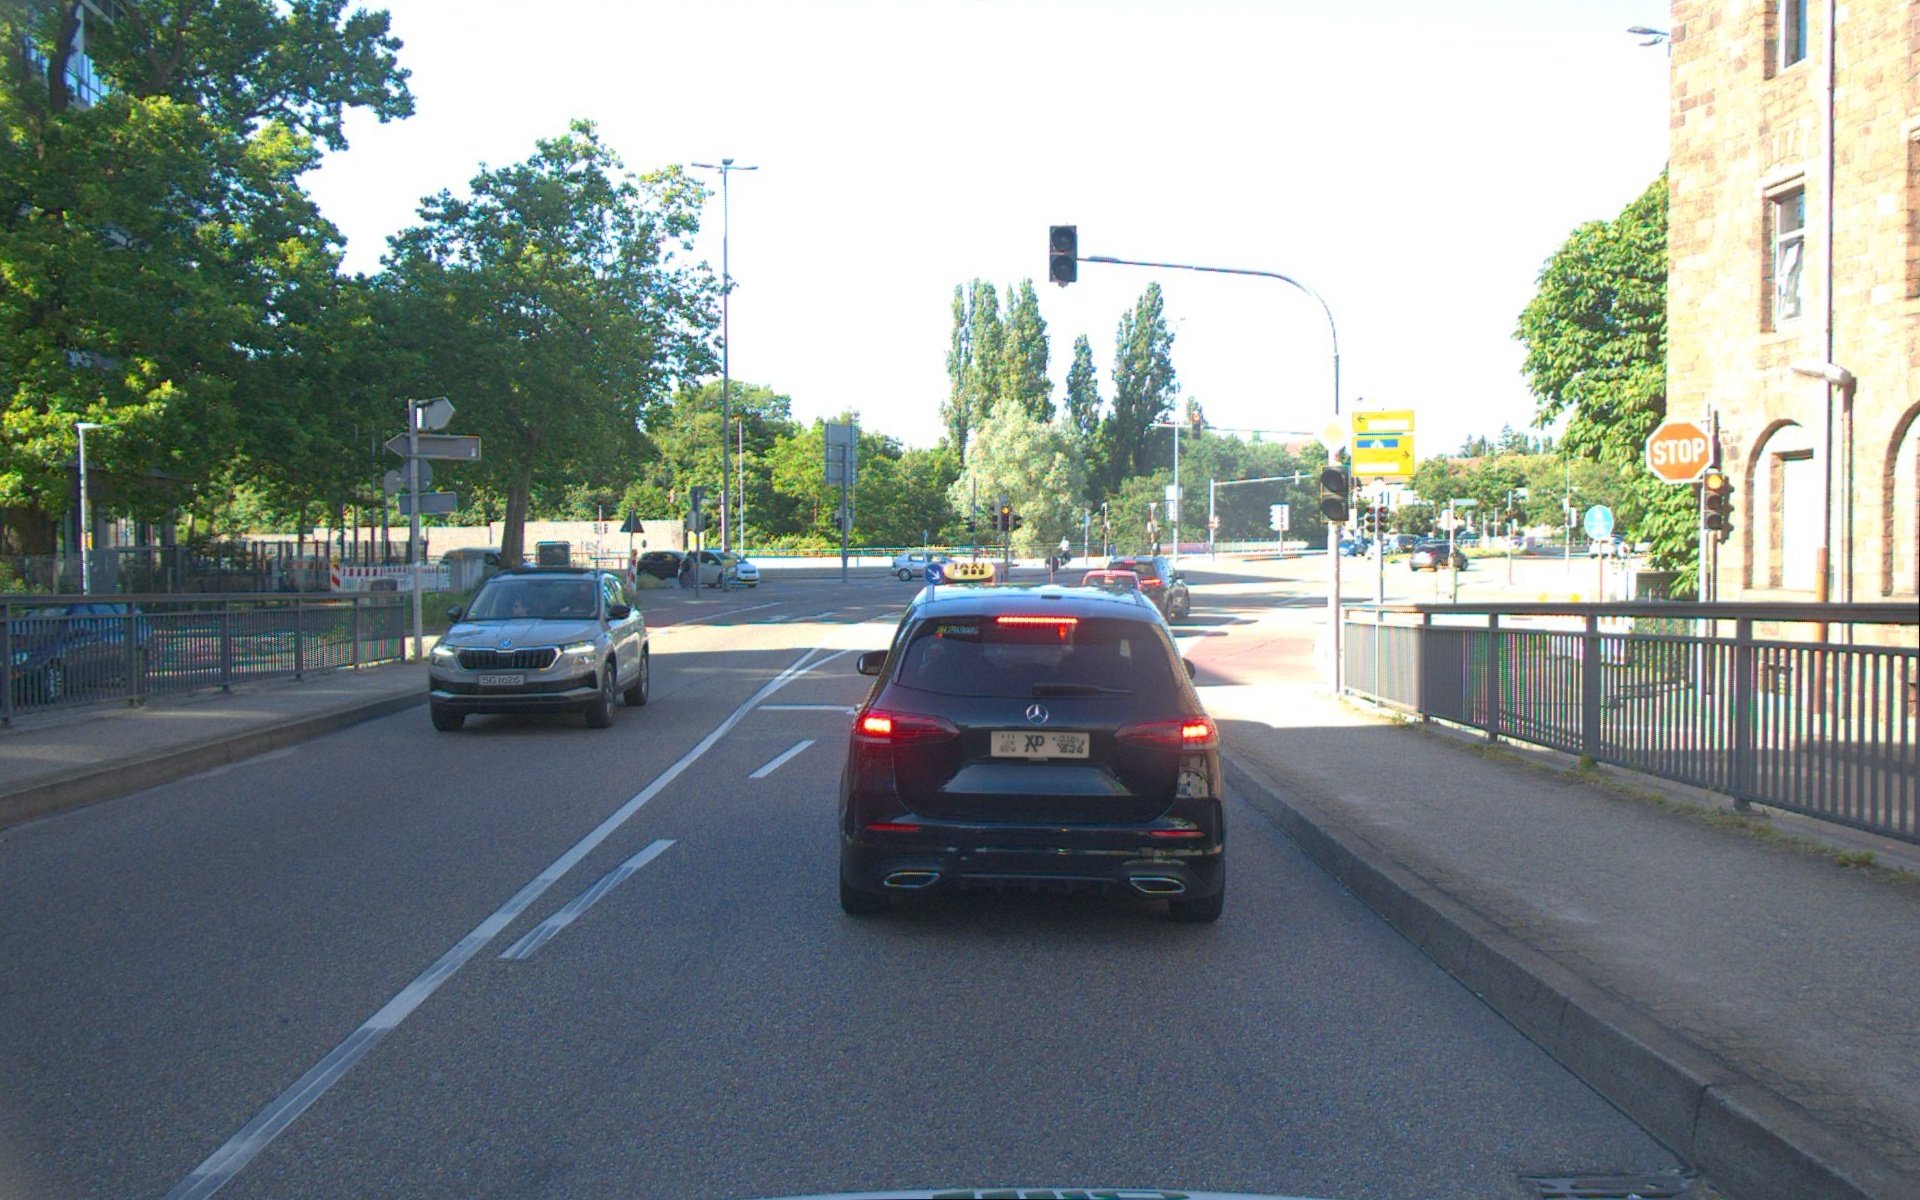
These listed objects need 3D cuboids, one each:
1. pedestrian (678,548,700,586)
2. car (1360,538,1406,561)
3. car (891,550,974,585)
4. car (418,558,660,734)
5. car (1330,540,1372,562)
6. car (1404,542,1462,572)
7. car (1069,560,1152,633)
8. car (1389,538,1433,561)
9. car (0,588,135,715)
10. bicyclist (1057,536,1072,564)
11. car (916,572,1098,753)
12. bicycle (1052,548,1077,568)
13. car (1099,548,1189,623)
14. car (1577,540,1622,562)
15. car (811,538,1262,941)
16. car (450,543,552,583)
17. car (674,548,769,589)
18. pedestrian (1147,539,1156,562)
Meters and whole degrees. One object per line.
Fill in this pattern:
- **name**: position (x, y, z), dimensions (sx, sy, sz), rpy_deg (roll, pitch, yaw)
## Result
- **pedestrian**: position (-11.110, -1.349, 67.831), dimensions (0.690, 1.552, 0.744), rpy_deg (1, 1, 10)
- **car**: position (29.438, -3.522, 115.158), dimensions (1.846, 1.605, 3.987), rpy_deg (1, 2, 35)
- **car**: position (-1.305, -1.596, 80.680), dimensions (3.903, 1.658, 1.892), rpy_deg (0, 1, 4)
- **car**: position (-4.443, 0.394, 18.046), dimensions (1.768, 1.651, 3.998), rpy_deg (-1, 2, -3)
- **car**: position (30.838, -3.866, 130.372), dimensions (1.846, 1.605, 3.987), rpy_deg (1, 2, 35)
- **car**: position (26.069, -2.364, 91.155), dimensions (1.711, 1.524, 3.981), rpy_deg (0, 0, 38)
- **car**: position (3.637, -0.116, 39.445), dimensions (1.685, 1.548, 3.490), rpy_deg (0, 3, 10)
- **car**: position (32.840, -3.708, 120.366), dimensions (1.846, 1.605, 3.987), rpy_deg (1, 2, 35)
- **car**: position (-14.765, 0.733, 25.789), dimensions (1.814, 1.722, 4.000), rpy_deg (0, 2, -1)
- **bicyclist**: position (6.042, -2.899, 95.811), dimensions (0.516, 1.578, 0.804), rpy_deg (-1, 2, 34)
- **car**: position (0.468, 0.537, 16.621), dimensions (1.606, 1.556, 3.475), rpy_deg (-1, 2, 1)
- **bicycle**: position (6.038, -2.440, 95.827), dimensions (0.516, 1.068, 1.984), rpy_deg (-1, 2, 34)
- **car**: position (5.076, -0.434, 45.102), dimensions (1.685, 1.843, 4.301), rpy_deg (0, 3, 17)
- **car**: position (45.249, -3.462, 116.901), dimensions (1.960, 1.389, 4.299), rpy_deg (1, 3, 36)
- **car**: position (0.289, 0.553, 8.836), dimensions (1.839, 1.641, 4.000), rpy_deg (1, 1, -1)
- **car**: position (-22.001, -1.766, 79.199), dimensions (4.794, 1.825, 1.920), rpy_deg (0, 2, 32)
- **car**: position (-10.243, -1.378, 70.938), dimensions (3.921, 1.663, 1.777), rpy_deg (1, 3, 37)
- **pedestrian**: position (13.251, -3.438, 114.553), dimensions (0.443, 1.613, 0.499), rpy_deg (0, 2, 40)
